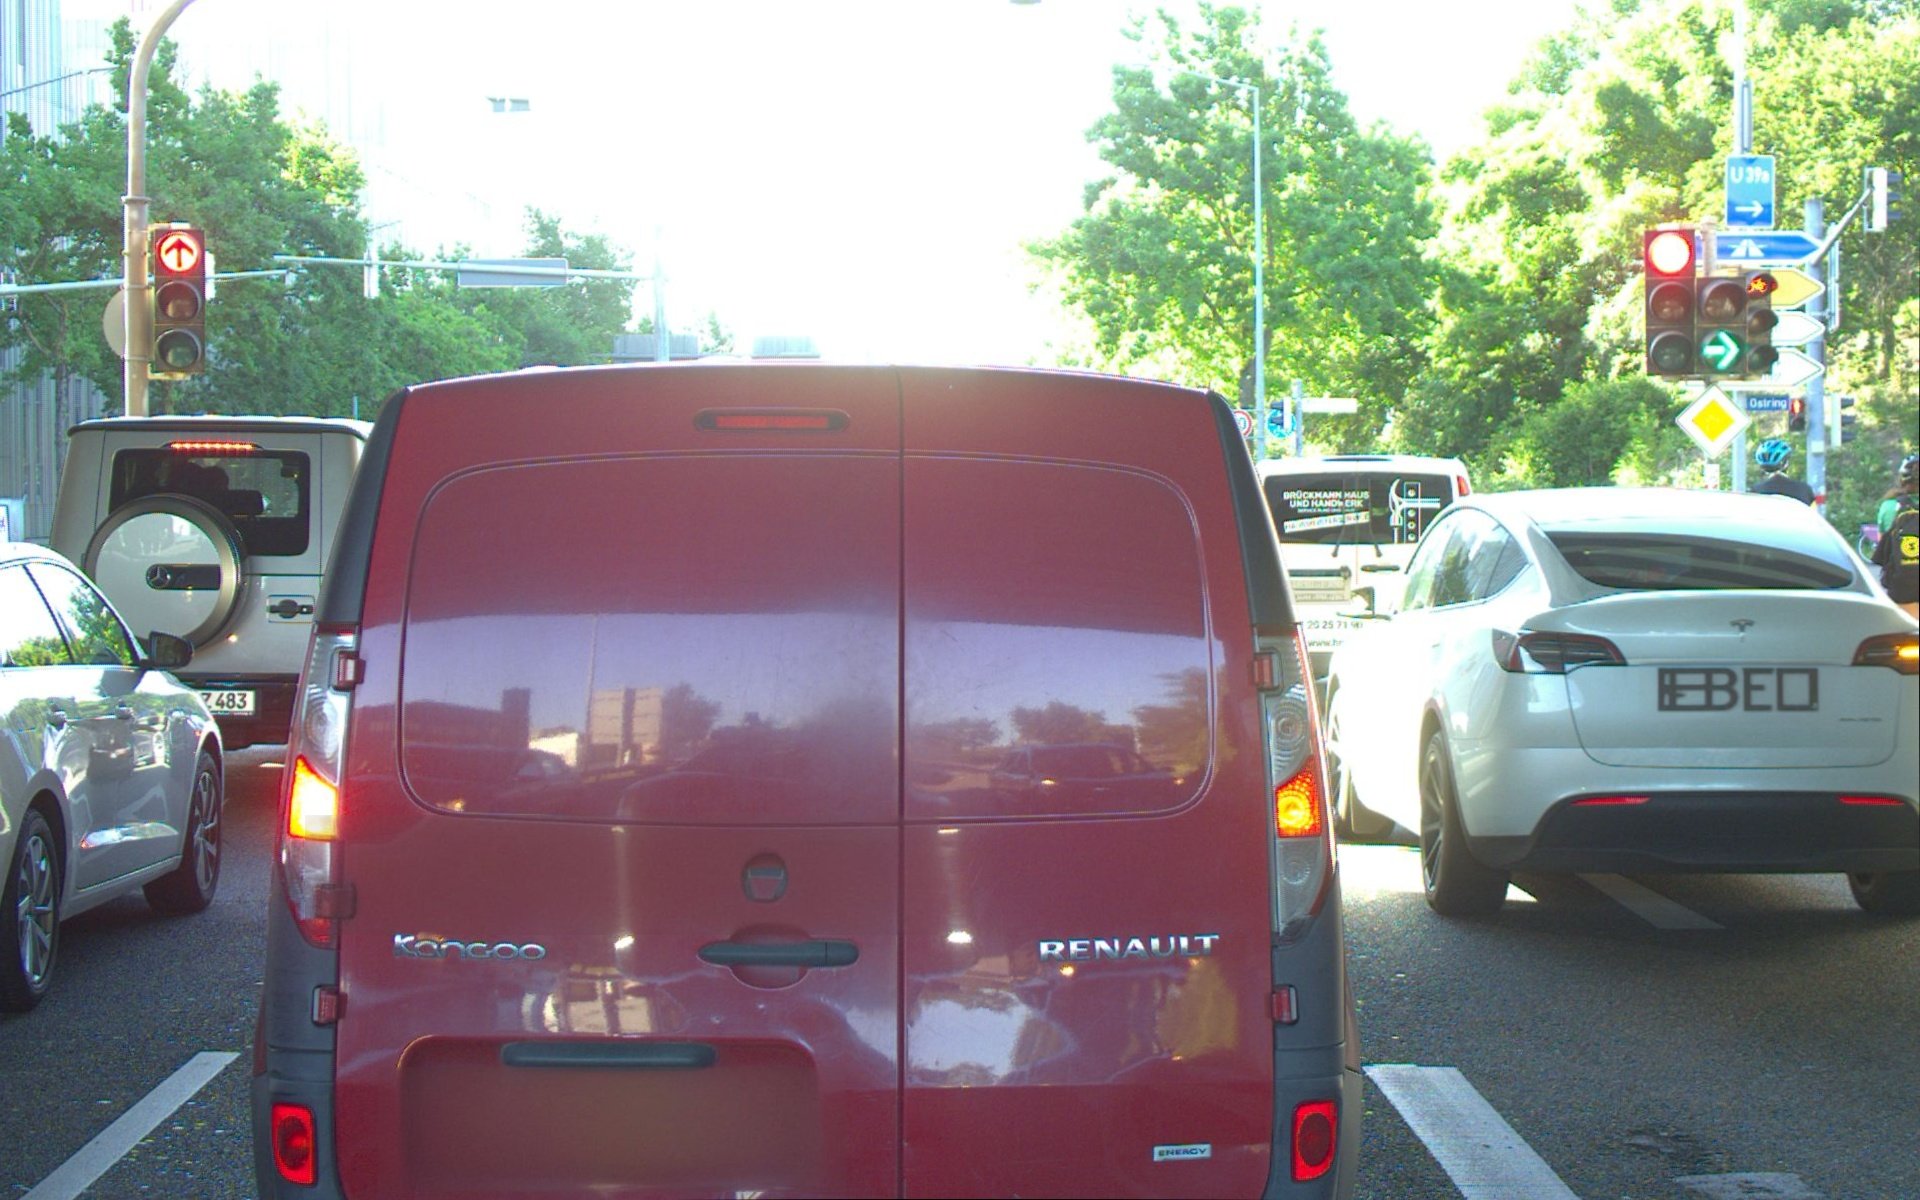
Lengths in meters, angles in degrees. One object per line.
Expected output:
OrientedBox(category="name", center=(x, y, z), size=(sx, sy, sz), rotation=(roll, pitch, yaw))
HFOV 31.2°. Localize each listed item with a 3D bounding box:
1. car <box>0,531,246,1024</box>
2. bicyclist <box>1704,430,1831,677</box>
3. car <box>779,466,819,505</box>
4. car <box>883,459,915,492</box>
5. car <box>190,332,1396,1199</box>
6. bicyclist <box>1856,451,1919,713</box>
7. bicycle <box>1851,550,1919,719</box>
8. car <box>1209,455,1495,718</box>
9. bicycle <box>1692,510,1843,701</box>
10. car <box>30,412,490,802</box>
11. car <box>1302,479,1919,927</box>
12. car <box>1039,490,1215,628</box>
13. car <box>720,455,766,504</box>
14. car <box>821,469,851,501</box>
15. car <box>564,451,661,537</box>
OrientedBox(category="car", center=(-3.623, 0.474, 11.516), size=(1.692, 1.405, 3.813), rotation=(1, 1, -1))
OrientedBox(category="bicyclist", center=(5.134, -0.297, 21.837), size=(0.653, 1.528, 0.846), rotation=(1, 1, 22))
OrientedBox(category="car", center=(-8.800, -6.279, 188.363), size=(1.993, 2.007, 4.000), rotation=(1, 1, -1))
OrientedBox(category="car", center=(-3.900, -7.989, 220.640), size=(1.993, 2.007, 4.000), rotation=(1, 1, -1))
OrientedBox(category="car", center=(-0.267, 0.465, 6.948), size=(1.719, 1.758, 4.000), rotation=(1, 1, -1))
OrientedBox(category="bicyclist", center=(6.036, -0.111, 21.658), size=(0.677, 1.623, 0.644), rotation=(1, 0, 10))
OrientedBox(category="bicycle", center=(6.031, 0.208, 21.645), size=(0.677, 1.020, 1.528), rotation=(1, 1, 10))
OrientedBox(category="car", center=(2.938, -0.162, 26.689), size=(1.898, 1.830, 4.835), rotation=(1, 2, 3))
OrientedBox(category="bicycle", center=(5.152, 0.019, 21.866), size=(0.651, 1.163, 1.776), rotation=(1, 1, 22))
OrientedBox(category="car", center=(-3.706, -0.004, 18.834), size=(1.813, 1.897, 3.814), rotation=(1, 1, -1))
OrientedBox(category="car", center=(2.700, 0.356, 14.196), size=(1.993, 1.546, 4.421), rotation=(0, 0, -2))
OrientedBox(category="car", center=(1.825, -0.476, 38.498), size=(1.745, 1.451, 3.717), rotation=(1, 1, 0))
OrientedBox(category="car", center=(-9.380, -5.182, 148.560), size=(1.748, 2.007, 3.845), rotation=(1, 1, -1))
OrientedBox(category="car", center=(-8.468, -7.847, 234.751), size=(1.929, 2.007, 3.914), rotation=(1, 1, -1))
OrientedBox(category="car", center=(-8.529, -2.581, 84.622), size=(1.993, 2.007, 4.000), rotation=(1, 1, -1))
